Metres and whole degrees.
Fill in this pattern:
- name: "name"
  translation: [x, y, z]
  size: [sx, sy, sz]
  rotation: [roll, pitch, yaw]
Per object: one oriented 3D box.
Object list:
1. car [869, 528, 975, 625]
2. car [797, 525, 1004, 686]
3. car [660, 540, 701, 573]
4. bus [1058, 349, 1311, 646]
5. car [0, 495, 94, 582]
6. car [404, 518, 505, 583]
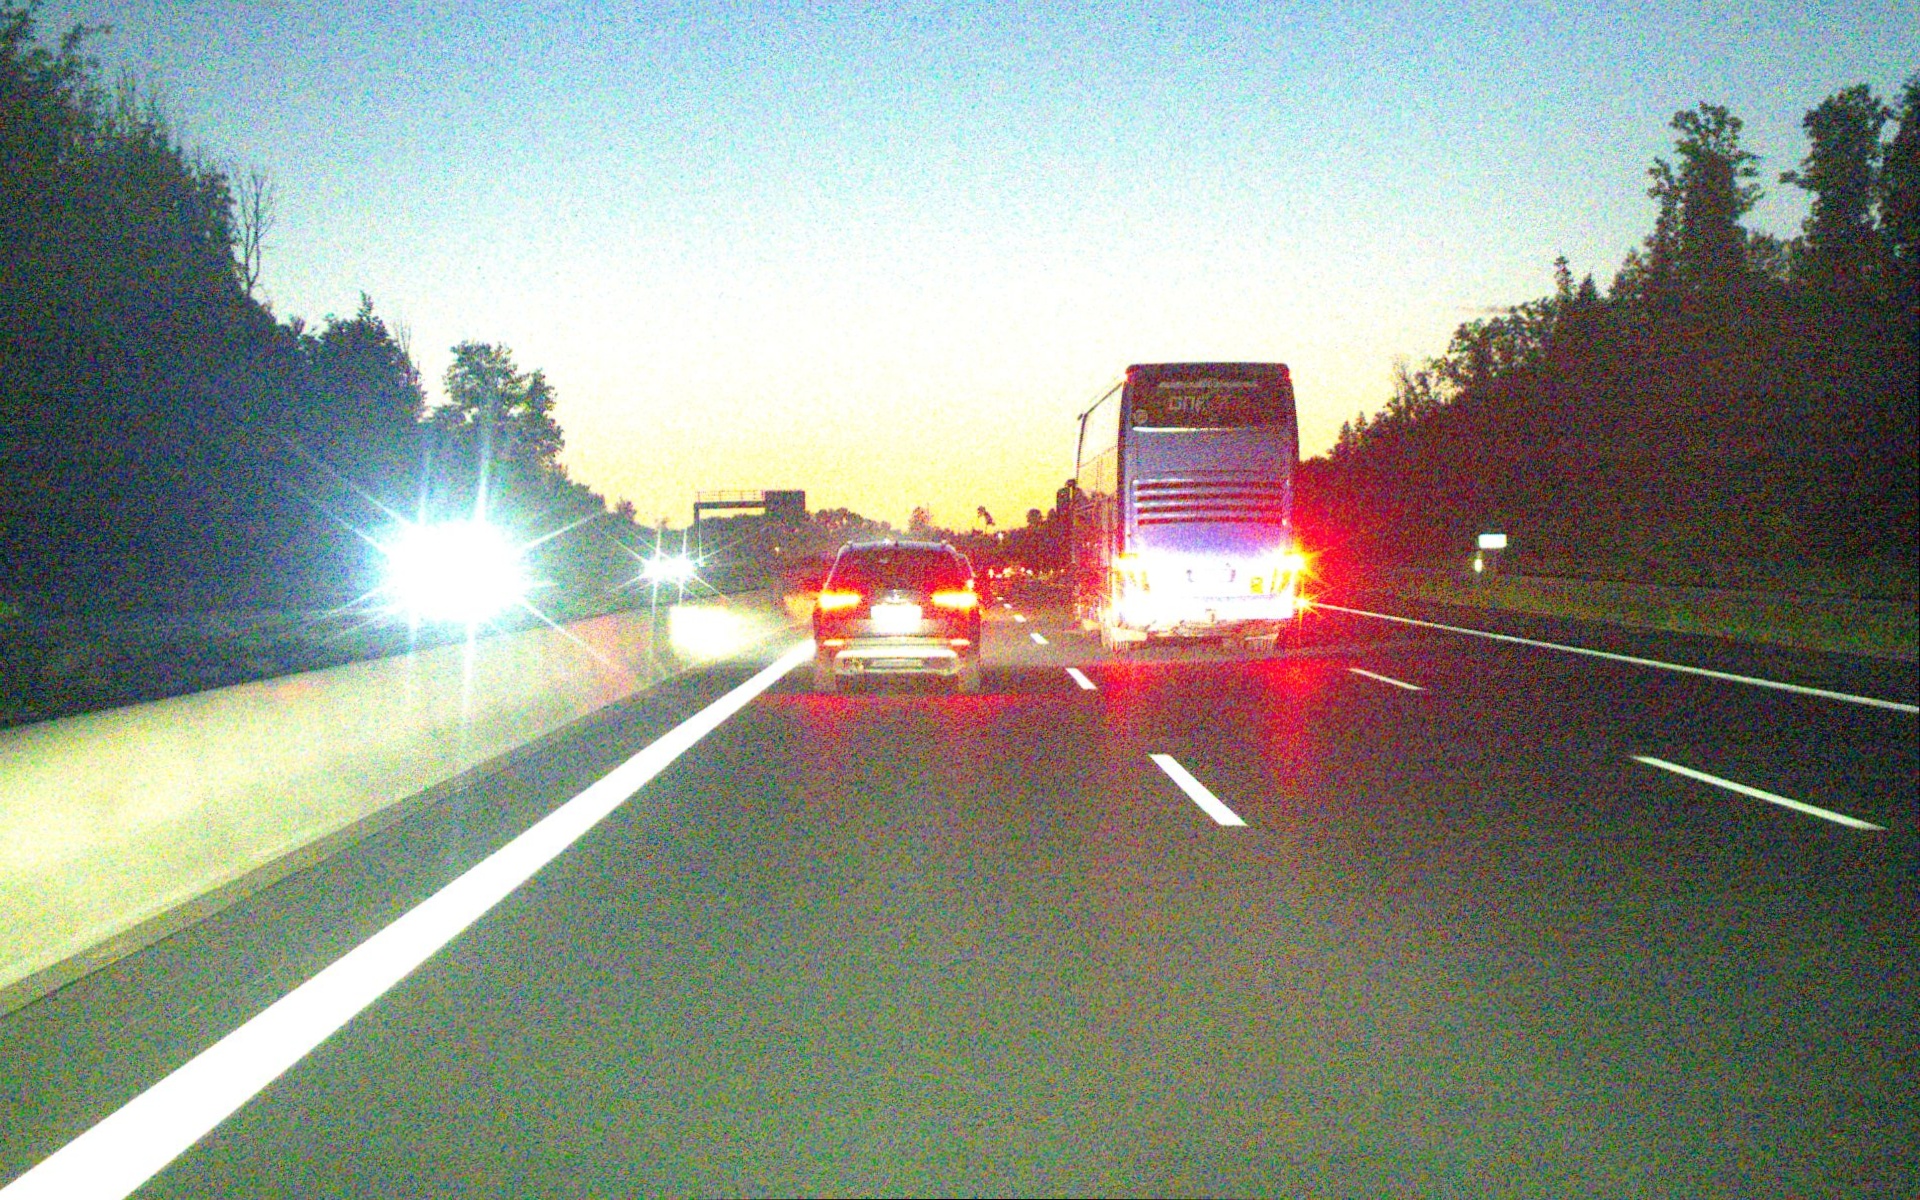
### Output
- name: "car"
  translation: [-0.756, -0.434, 65.522]
  size: [1.911, 1.724, 4.000]
  rotation: [-2, 0, -2]
- name: "car"
  translation: [-0.677, 0.055, 37.370]
  size: [2.105, 1.612, 4.204]
  rotation: [-1, 0, -2]
- name: "car"
  translation: [-15.604, -2.441, 192.050]
  size: [1.992, 1.770, 5.171]
  rotation: [1, 1, -1]
- name: "bus"
  translation: [3.270, -1.412, 54.132]
  size: [2.652, 3.980, 14.702]
  rotation: [-1, 0, -1]
- name: "car"
  translation: [-21.721, -1.418, 80.311]
  size: [1.993, 1.919, 4.000]
  rotation: [-2, 0, -1]
- name: "car"
  translation: [-12.594, -1.262, 85.932]
  size: [1.933, 1.556, 4.454]
  rotation: [1, 1, -1]
